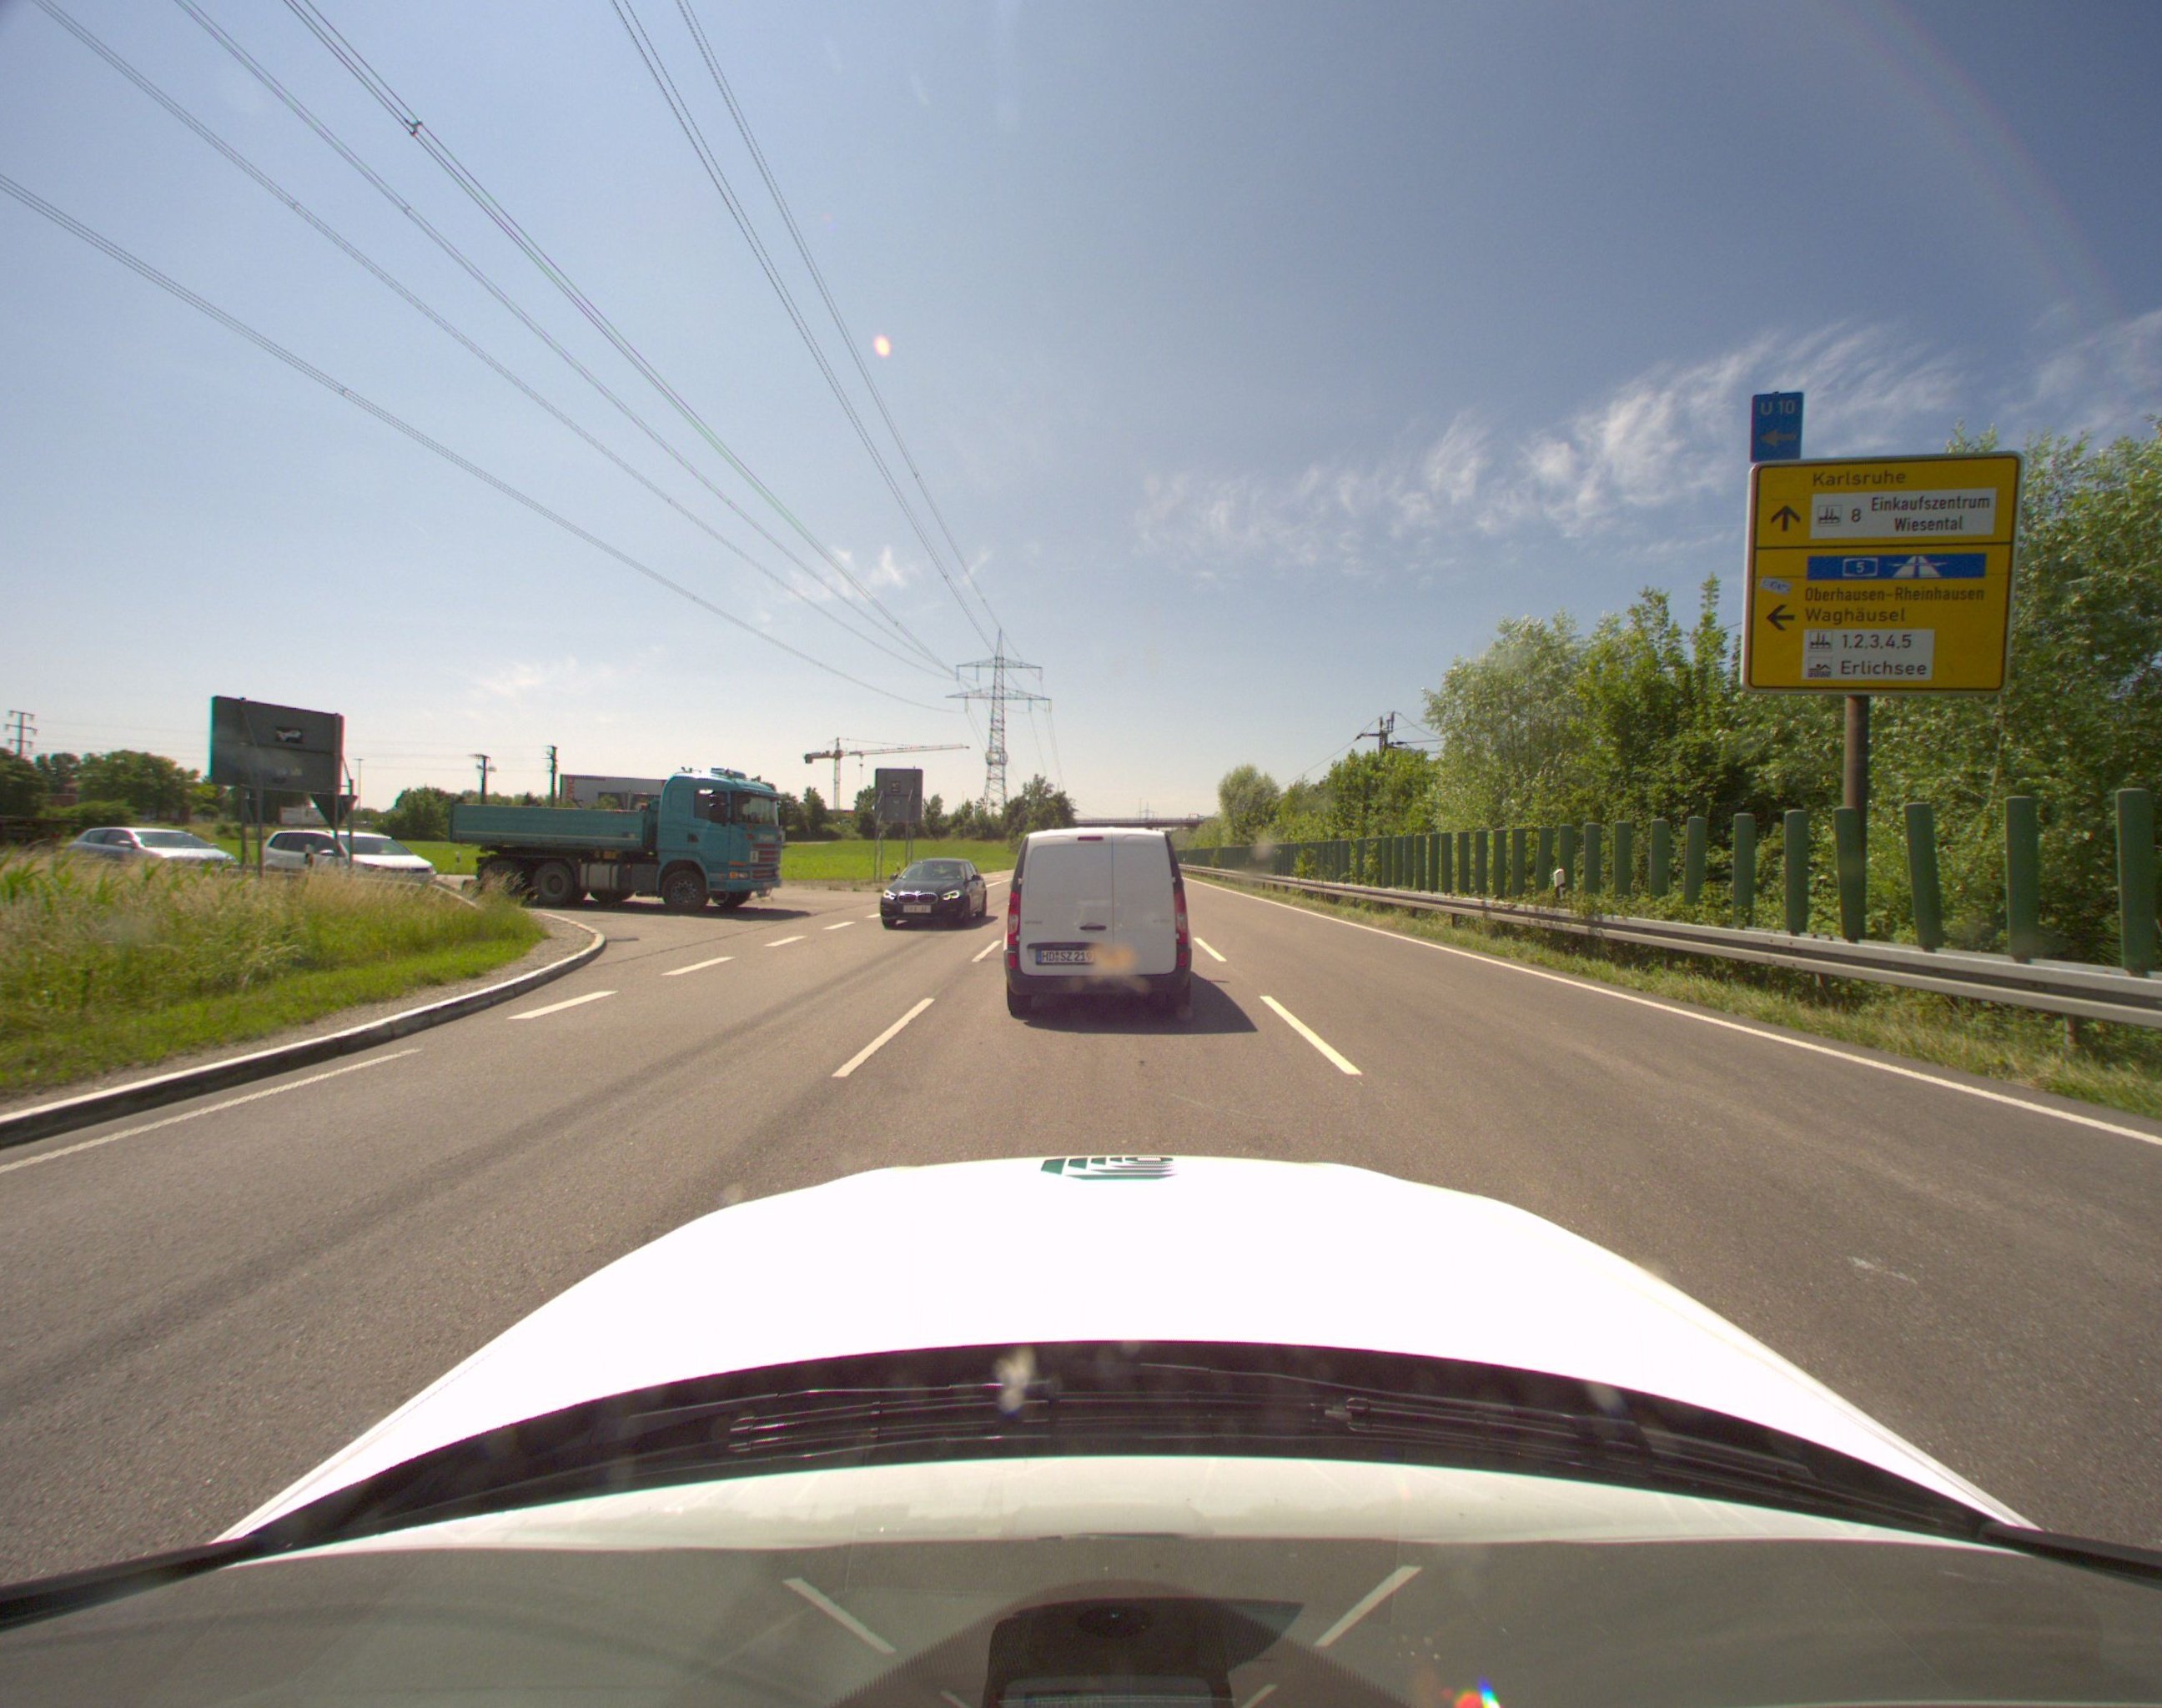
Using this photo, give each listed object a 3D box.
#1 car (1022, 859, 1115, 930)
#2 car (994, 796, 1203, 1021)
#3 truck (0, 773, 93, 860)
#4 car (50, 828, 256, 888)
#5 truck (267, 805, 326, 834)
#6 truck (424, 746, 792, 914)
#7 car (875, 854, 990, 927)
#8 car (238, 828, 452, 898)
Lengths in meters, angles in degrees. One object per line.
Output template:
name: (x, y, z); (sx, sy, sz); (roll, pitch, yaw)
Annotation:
car: (-0.241, 0.834, 18.662); (1.850, 1.396, 4.652); (1, 0, 0)
car: (0.197, 0.479, 9.166); (1.820, 1.971, 4.001); (-1, 0, 1)
truck: (-45.218, -1.443, 32.500); (9.611, 3.288, 2.837); (0, 0, 9)
car: (-25.165, 0.086, 22.129); (4.402, 1.470, 1.724); (1, 0, 12)
truck: (-142.459, -6.175, 148.131); (3.697, 4.646, 13.129); (1, 0, -26)
truck: (-11.823, -0.599, 20.742); (7.870, 3.734, 2.500); (2, 0, 3)
car: (-3.238, 0.740, 18.543); (1.775, 1.464, 4.001); (0, 0, 1)
car: (-19.065, 0.206, 21.154); (4.507, 1.612, 1.976); (1, 0, 16)
